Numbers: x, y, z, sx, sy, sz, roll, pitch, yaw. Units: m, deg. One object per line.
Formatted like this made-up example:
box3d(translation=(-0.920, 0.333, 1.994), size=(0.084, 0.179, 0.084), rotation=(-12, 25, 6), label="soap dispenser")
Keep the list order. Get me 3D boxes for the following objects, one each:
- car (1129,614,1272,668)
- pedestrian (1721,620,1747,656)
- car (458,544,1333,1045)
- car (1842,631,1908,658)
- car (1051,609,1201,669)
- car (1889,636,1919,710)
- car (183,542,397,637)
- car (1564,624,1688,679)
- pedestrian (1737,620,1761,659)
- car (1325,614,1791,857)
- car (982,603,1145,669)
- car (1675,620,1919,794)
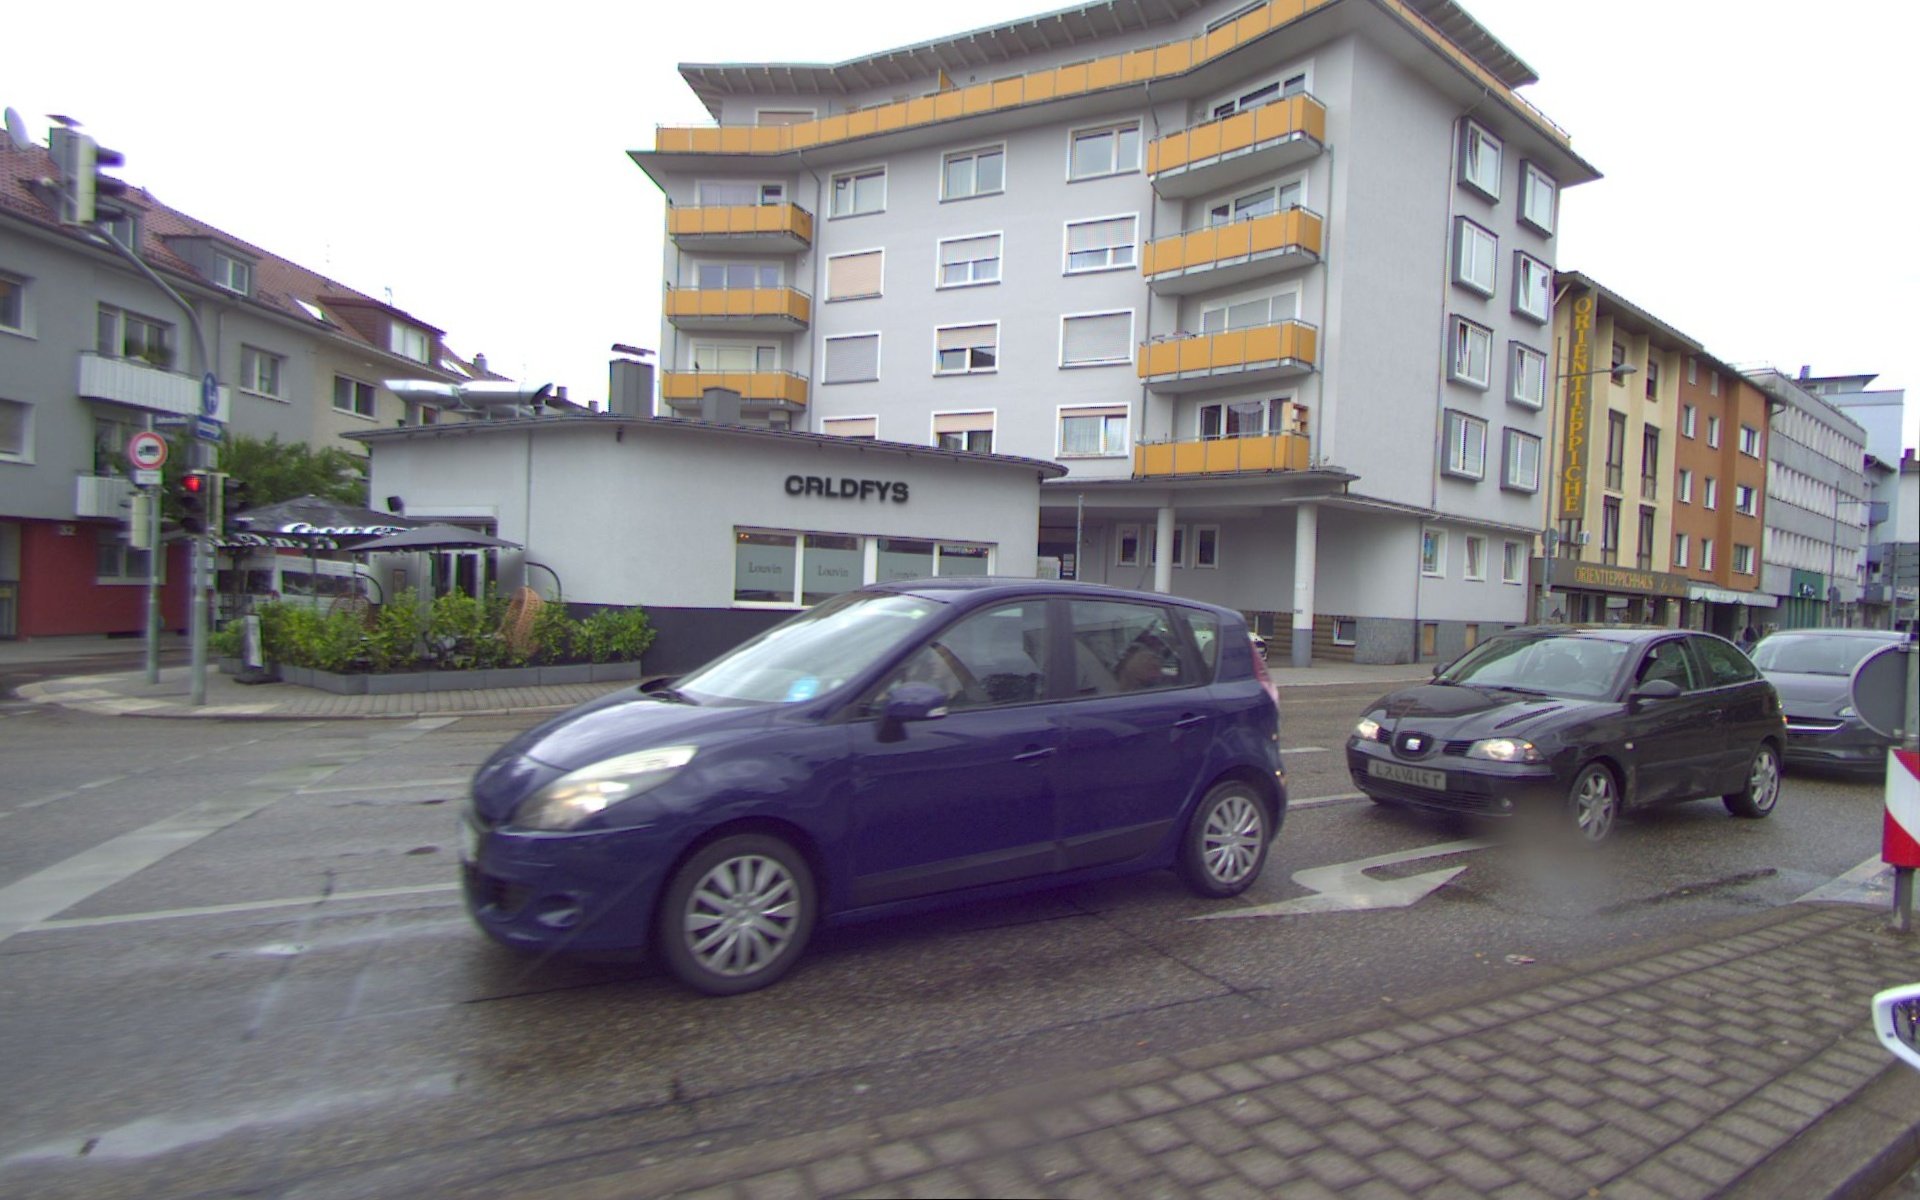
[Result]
box3d(translation=(6.406, 1.076, 27.032), size=(1.484, 1.356, 3.592), rotation=(2, -2, -40), label="car")
box3d(translation=(37.554, 1.845, 48.732), size=(0.901, 1.698, 0.625), rotation=(2, 5, -40), label="pedestrian")
box3d(translation=(-0.159, 0.661, 5.155), size=(4.166, 1.636, 1.745), rotation=(1, 0, -33), label="car")
box3d(translation=(79.151, 3.794, 86.927), size=(1.566, 2.061, 3.934), rotation=(2, 0, -37), label="car")
box3d(translation=(4.211, 0.987, 25.929), size=(1.624, 1.439, 3.728), rotation=(2, -2, -38), label="car")
box3d(translation=(21.167, 1.556, 21.447), size=(4.384, 1.459, 1.715), rotation=(3, 0, -44), label="car")
box3d(translation=(-19.689, -0.286, 29.893), size=(2.358, 2.543, 5.261), rotation=(2, 0, 8), label="car")
box3d(translation=(19.087, 1.488, 28.727), size=(4.074, 1.384, 1.715), rotation=(4, -1, -38), label="car")
box3d(translation=(37.862, 1.882, 48.193), size=(0.819, 1.812, 0.570), rotation=(2, 5, -39), label="pedestrian")
box3d(translation=(4.619, 0.841, 7.630), size=(3.686, 1.416, 1.547), rotation=(1, 0, -32), label="car")
box3d(translation=(2.434, 0.865, 24.300), size=(1.782, 1.439, 3.783), rotation=(4, -3, -38), label="car")
box3d(translation=(9.398, 1.024, 10.813), size=(3.953, 1.473, 1.632), rotation=(2, 1, -37), label="car")
